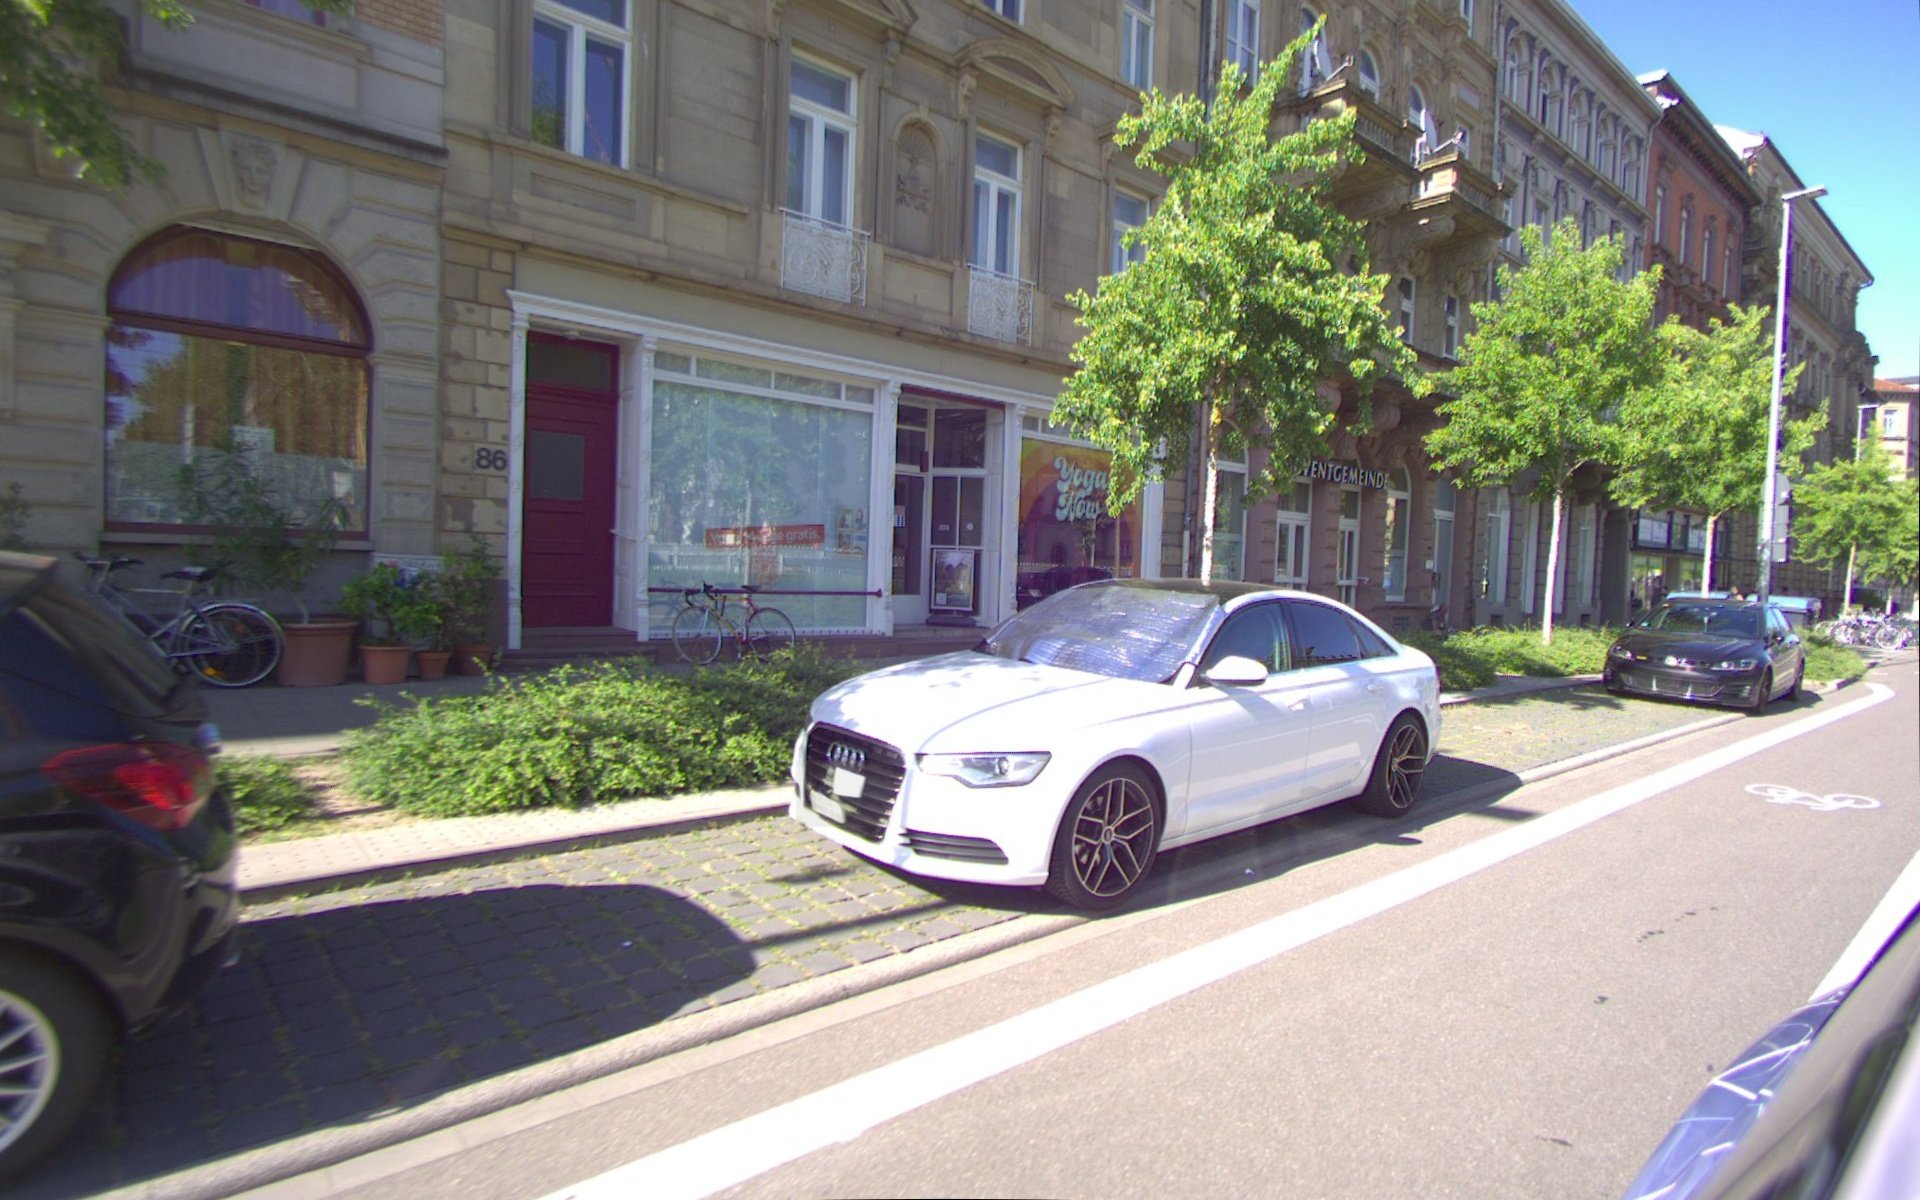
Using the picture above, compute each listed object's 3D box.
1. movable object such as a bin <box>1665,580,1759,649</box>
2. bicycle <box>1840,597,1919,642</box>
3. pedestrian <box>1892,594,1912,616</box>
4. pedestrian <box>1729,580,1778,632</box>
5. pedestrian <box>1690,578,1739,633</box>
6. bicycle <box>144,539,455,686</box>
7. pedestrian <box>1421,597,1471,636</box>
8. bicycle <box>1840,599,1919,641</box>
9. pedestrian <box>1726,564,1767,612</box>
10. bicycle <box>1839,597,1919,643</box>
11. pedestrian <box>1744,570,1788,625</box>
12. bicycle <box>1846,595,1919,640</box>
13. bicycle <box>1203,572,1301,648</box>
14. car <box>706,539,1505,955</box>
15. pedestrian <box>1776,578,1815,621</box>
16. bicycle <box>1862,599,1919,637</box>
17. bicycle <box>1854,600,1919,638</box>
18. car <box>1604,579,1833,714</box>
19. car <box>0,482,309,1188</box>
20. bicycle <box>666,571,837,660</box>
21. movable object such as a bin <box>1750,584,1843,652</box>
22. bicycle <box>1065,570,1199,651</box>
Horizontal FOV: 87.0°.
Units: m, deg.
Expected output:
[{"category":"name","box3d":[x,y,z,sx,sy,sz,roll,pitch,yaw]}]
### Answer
[{"category":"movable object such as a bin","box3d":[18.340,0.308,24.686,1.717,1.513,1.377,-1,5,-39]},{"category":"bicycle","box3d":[27.634,0.579,30.134,2.045,1.120,0.601,8,6,44]},{"category":"pedestrian","box3d":[52.795,0.269,56.714,0.866,1.197,0.719,-1,3,-41]},{"category":"pedestrian","box3d":[25.377,0.203,32.365,1.061,1.586,0.952,2,2,-41]},{"category":"pedestrian","box3d":[24.240,0.176,32.518,0.975,1.659,0.973,2,2,-40]},{"category":"bicycle","box3d":[-5.618,0.080,8.700,2.159,1.103,0.723,0,3,-40]},{"category":"pedestrian","box3d":[10.972,0.355,22.838,0.867,0.828,0.968,2,2,36]},{"category":"bicycle","box3d":[28.636,0.622,31.124,2.279,1.115,0.480,5,4,36]},{"category":"pedestrian","box3d":[30.224,-0.452,38.896,0.885,1.756,0.850,1,5,-35]},{"category":"bicycle","box3d":[27.334,0.586,29.868,0.474,1.137,1.977,1,5,-45]},{"category":"pedestrian","box3d":[29.922,-0.106,37.586,1.077,1.943,0.893,0,4,-35]},{"category":"bicycle","box3d":[28.472,0.552,30.792,2.142,1.168,0.424,7,5,37]},{"category":"bicycle","box3d":[5.099,0.146,17.625,1.769,1.215,0.749,-1,4,-41]},{"category":"car","box3d":[1.222,0.506,6.179,5.015,1.513,1.956,0,4,-40]},{"category":"pedestrian","box3d":[34.777,-0.043,42.134,1.094,1.712,0.972,0,4,-41]},{"category":"bicycle","box3d":[30.810,0.607,33.090,0.509,1.122,1.894,-1,5,-45]},{"category":"bicycle","box3d":[29.689,0.608,32.176,1.816,1.068,0.562,6,4,45]},{"category":"car","box3d":[10.773,0.515,14.250,4.374,1.494,1.769,-1,6,-43]},{"category":"car","box3d":[-3.863,0.473,1.981,4.147,1.588,1.888,-1,5,-41]},{"category":"bicycle","box3d":[-2.387,0.166,11.801,1.977,0.956,0.448,0,1,-41]},{"category":"movable object such as a bin","box3d":[19.486,0.410,23.565,1.612,1.482,1.275,3,-1,-36]},{"category":"bicycle","box3d":[2.707,0.142,15.794,2.145,1.118,0.877,0,5,-43]}]
